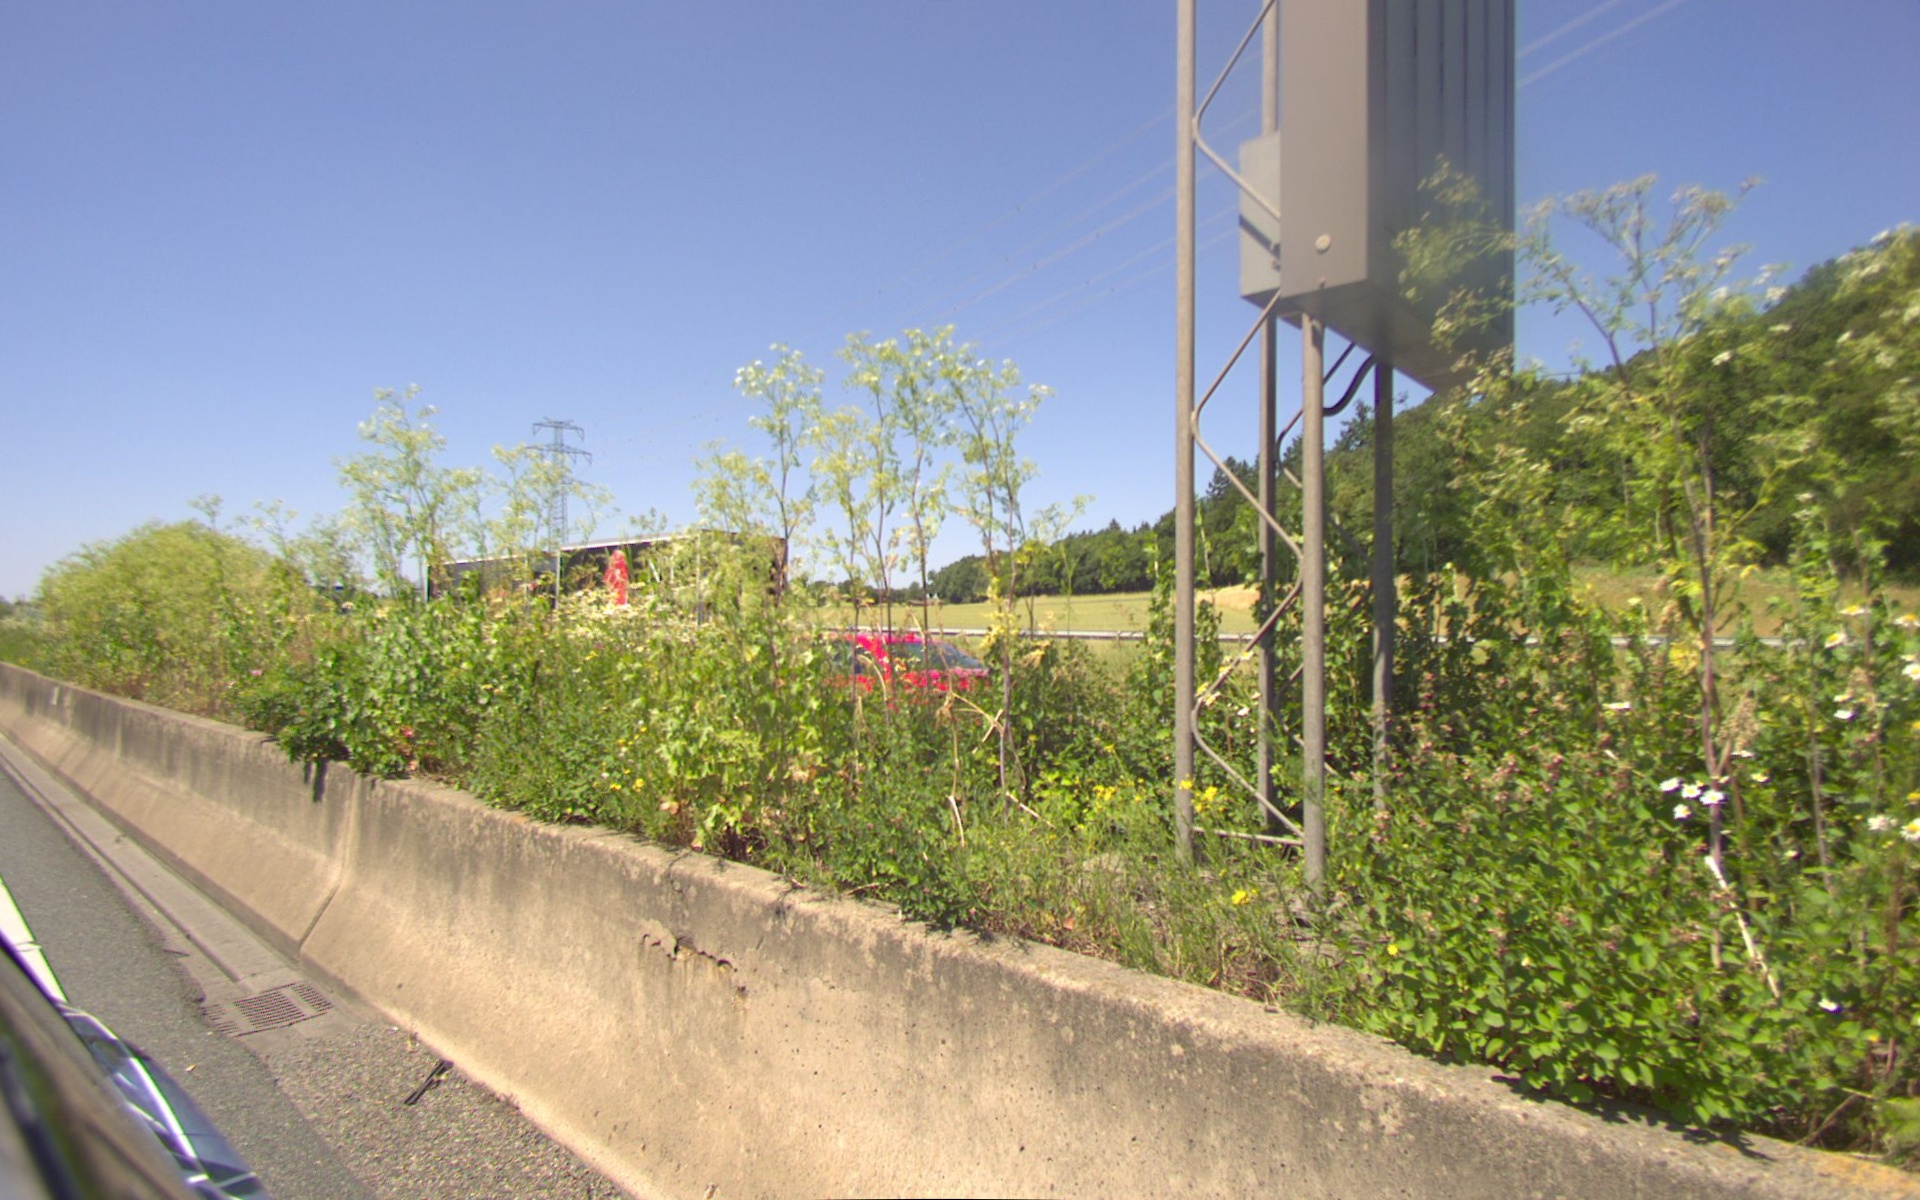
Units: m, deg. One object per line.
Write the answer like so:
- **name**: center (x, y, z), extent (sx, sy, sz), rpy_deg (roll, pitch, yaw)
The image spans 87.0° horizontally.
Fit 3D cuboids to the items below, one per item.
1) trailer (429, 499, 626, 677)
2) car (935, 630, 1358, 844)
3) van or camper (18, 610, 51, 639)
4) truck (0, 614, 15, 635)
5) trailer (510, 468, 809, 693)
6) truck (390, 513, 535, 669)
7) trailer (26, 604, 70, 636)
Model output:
- **trailer**: center (-13.962, -0.300, 32.442), extent (6.702, 5.086, 3.287), rpy_deg (-1, -1, 42)
- **car**: center (1.446, 0.931, 8.164), extent (2.869, 1.340, 1.751), rpy_deg (-1, -1, 41)
- **van or camper**: center (-94.528, 2.492, 103.337), extent (4.648, 2.882, 2.026), rpy_deg (-1, -2, 42)
- **truck**: center (-156.793, 3.940, 165.372), extent (11.819, 3.313, 2.735), rpy_deg (-1, -2, 43)
- **trailer**: center (-8.414, -0.383, 27.381), extent (9.589, 5.086, 3.286), rpy_deg (-1, -1, 42)
- **truck**: center (-17.545, -0.245, 35.684), extent (4.031, 5.089, 3.268), rpy_deg (-1, -2, 42)
- **trailer**: center (-111.839, 2.508, 124.059), extent (8.198, 3.790, 3.149), rpy_deg (-1, -2, 42)
